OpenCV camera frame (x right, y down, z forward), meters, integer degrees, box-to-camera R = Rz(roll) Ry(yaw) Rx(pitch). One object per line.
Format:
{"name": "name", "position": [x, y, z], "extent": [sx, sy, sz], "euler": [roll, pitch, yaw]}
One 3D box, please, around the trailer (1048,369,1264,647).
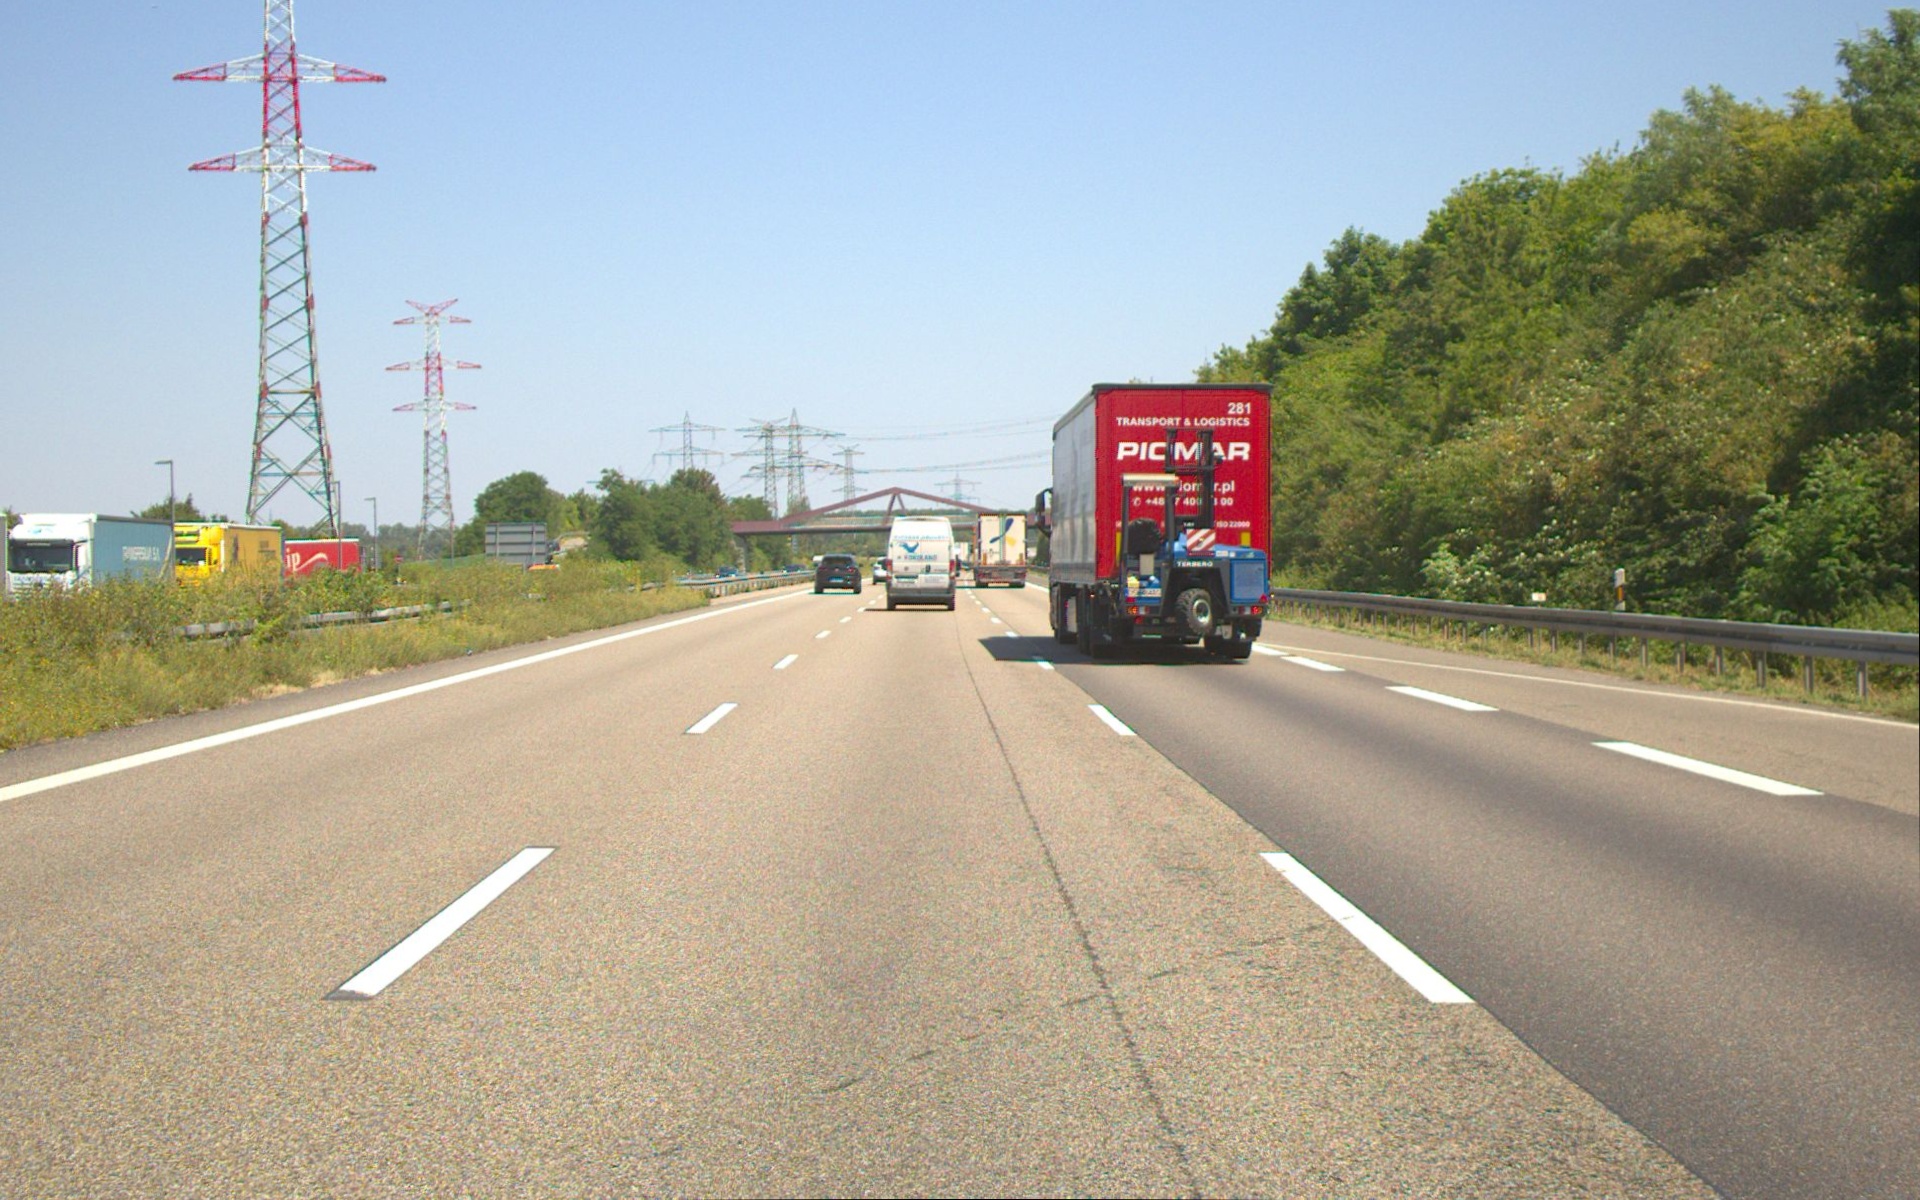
{"name": "trailer", "position": [2.922, -1.368, 55.284], "extent": [2.490, 3.896, 14.247], "euler": [0, 1, -1]}

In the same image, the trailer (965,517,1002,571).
{"name": "trailer", "position": [1.743, -4.073, 251.942], "extent": [2.637, 3.883, 7.068], "euler": [1, 1, 1]}

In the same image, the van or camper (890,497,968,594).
{"name": "van or camper", "position": [-0.919, -1.622, 102.975], "extent": [2.230, 2.772, 5.423], "euler": [1, 1, 0]}

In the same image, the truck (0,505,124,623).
{"name": "truck", "position": [-32.238, -1.296, 123.349], "extent": [2.849, 4.059, 7.090], "euler": [1, 1, -1]}

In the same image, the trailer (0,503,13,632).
{"name": "trailer", "position": [-32.158, -1.023, 106.025], "extent": [3.113, 4.144, 11.017], "euler": [1, 1, -2]}

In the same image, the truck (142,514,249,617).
{"name": "truck", "position": [-32.232, -1.476, 145.196], "extent": [2.833, 4.186, 7.919], "euler": [1, 1, -1]}

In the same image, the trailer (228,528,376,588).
{"name": "trailer", "position": [-46.185, -2.945, 241.577], "extent": [3.127, 4.041, 11.291], "euler": [1, 1, 34]}

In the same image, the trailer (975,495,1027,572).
{"name": "trailer", "position": [2.221, -3.565, 187.072], "extent": [2.637, 4.046, 12.366], "euler": [1, 1, 1]}

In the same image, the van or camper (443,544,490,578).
{"name": "van or camper", "position": [-27.089, -2.132, 188.874], "extent": [1.896, 1.832, 4.747], "euler": [-1, 1, -1]}

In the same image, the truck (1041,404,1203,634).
{"name": "truck", "position": [2.835, -1.416, 62.069], "extent": [2.499, 3.906, 7.097], "euler": [0, 1, -1]}

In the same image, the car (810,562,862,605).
{"name": "car", "position": [-5.442, -0.734, 151.370], "extent": [1.982, 1.811, 3.812], "euler": [1, 1, 2]}
